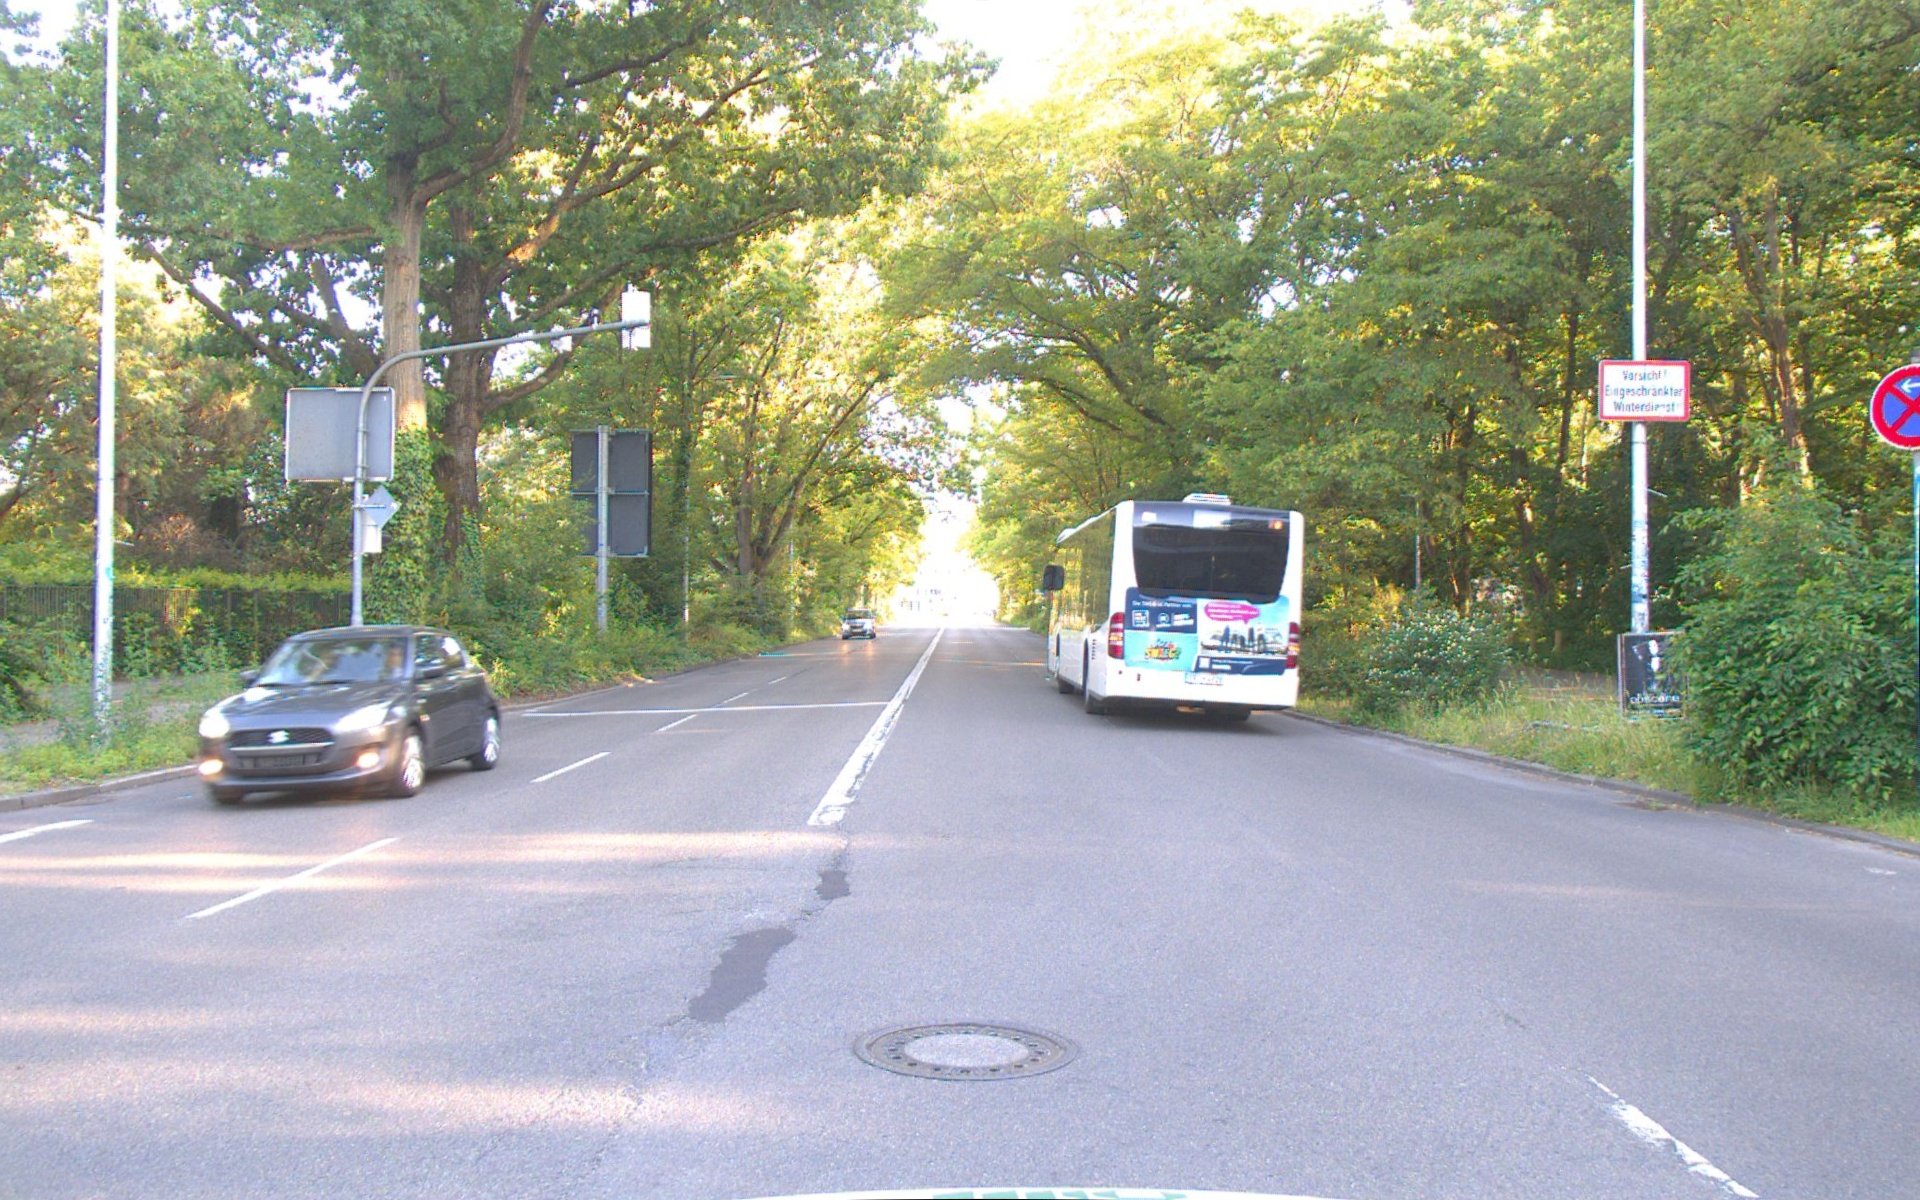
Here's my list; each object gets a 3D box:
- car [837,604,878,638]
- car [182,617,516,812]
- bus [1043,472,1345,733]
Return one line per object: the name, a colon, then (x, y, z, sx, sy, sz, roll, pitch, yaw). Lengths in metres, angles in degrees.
car: (-5.179, 1.059, 83.870, 1.770, 1.607, 4.319, -2, 0, 0)
car: (-5.421, 0.941, 15.169, 1.673, 1.478, 3.639, -2, 0, 0)
bus: (3.254, 0.053, 26.913, 2.951, 3.141, 12.268, 3, 0, 0)
